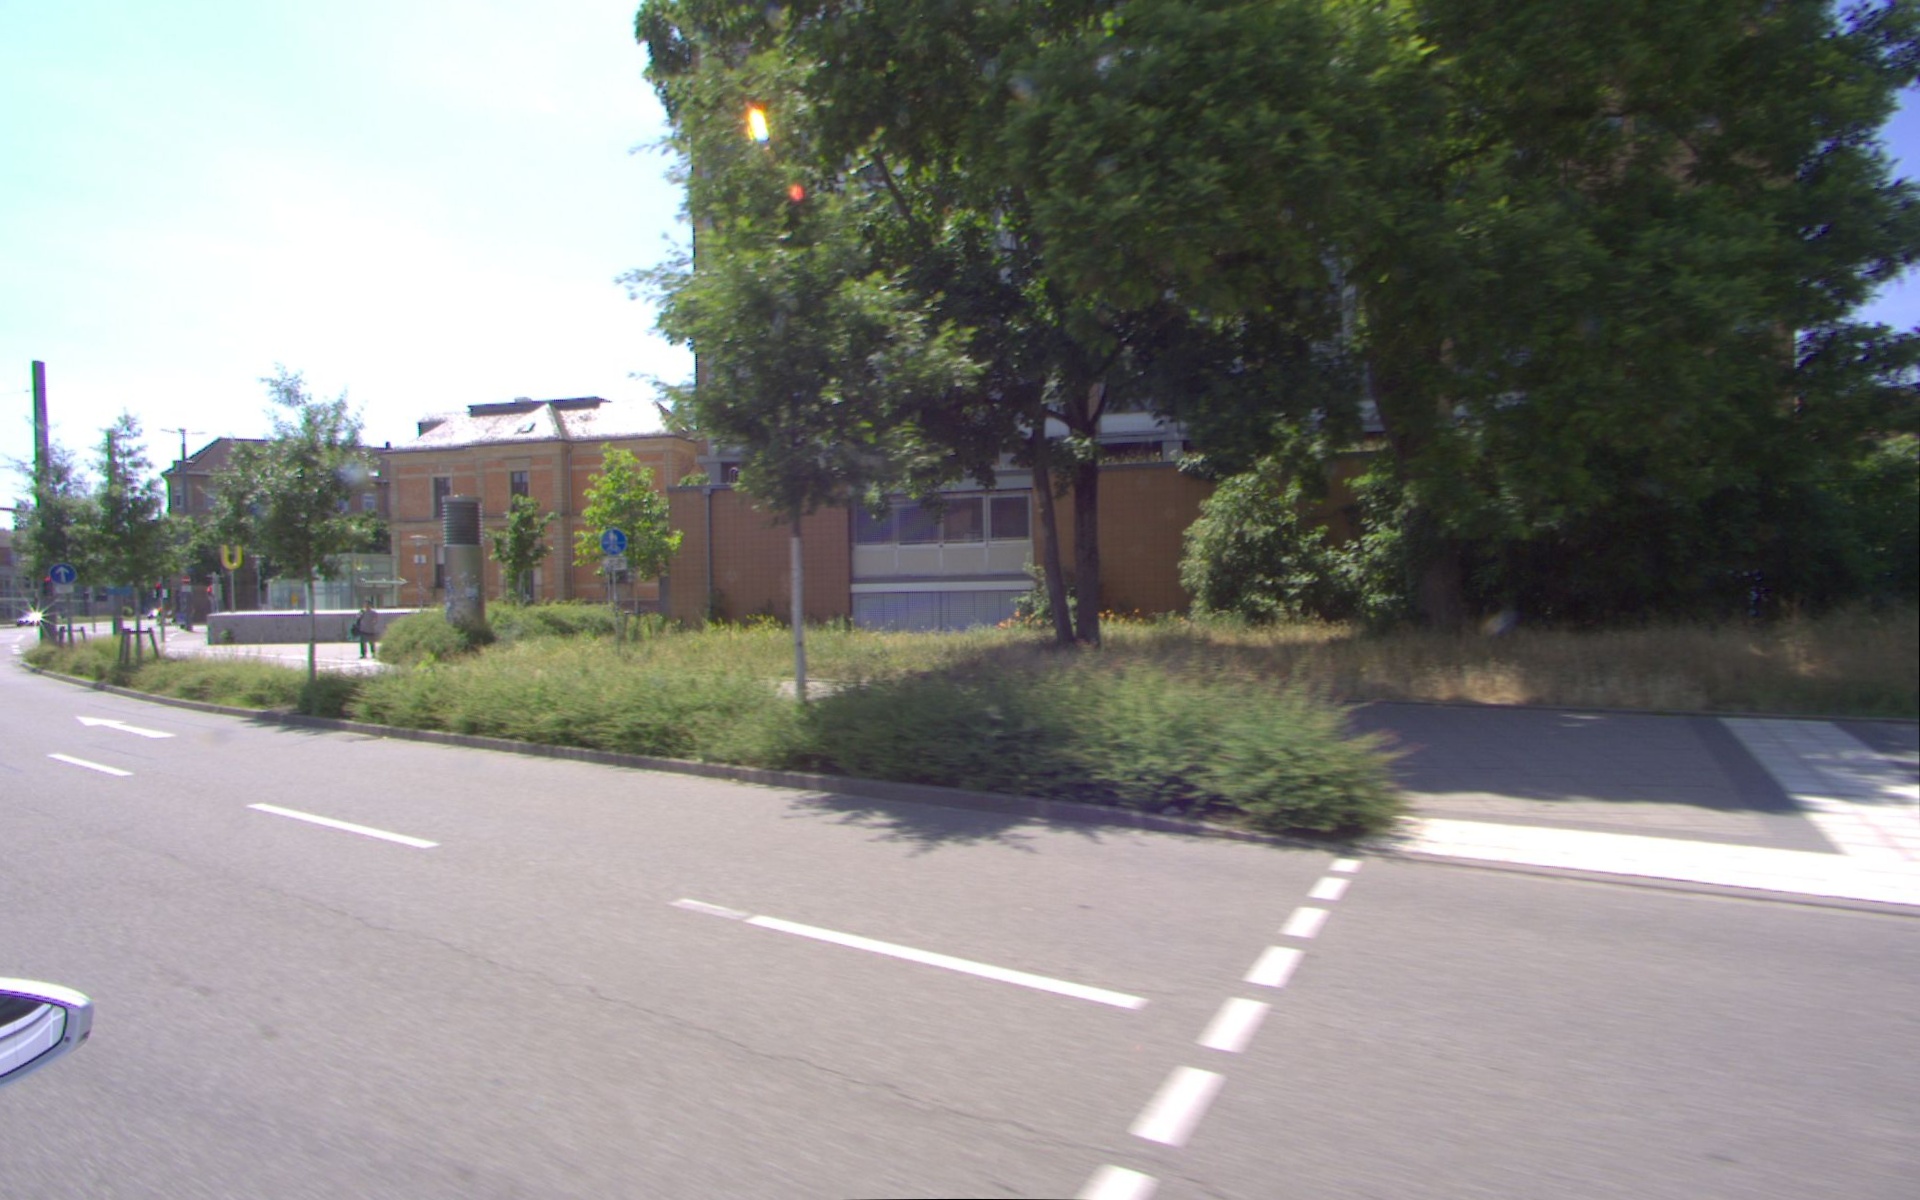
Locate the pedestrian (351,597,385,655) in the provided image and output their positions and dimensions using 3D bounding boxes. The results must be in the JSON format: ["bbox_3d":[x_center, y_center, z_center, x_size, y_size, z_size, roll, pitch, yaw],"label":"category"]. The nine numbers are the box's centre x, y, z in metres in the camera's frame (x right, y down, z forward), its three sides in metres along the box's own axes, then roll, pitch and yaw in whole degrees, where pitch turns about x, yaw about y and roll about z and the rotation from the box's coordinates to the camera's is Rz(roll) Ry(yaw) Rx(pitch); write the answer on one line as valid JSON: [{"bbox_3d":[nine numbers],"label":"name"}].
[{"bbox_3d":[-17.956,0.773,30.358,0.802,1.728,0.727,1,1,45],"label":"pedestrian"}]

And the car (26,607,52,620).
[{"bbox_3d":[-107.147,1.556,116.527,1.553,1.446,3.592,1,1,-30],"label":"car"}]

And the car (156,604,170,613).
[{"bbox_3d":[-135.650,1.456,170.430,3.512,1.478,1.522,2,1,44],"label":"car"}]

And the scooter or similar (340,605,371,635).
[{"bbox_3d":[-24.973,0.831,41.365,1.267,1.183,0.397,2,2,21],"label":"scooter or similar"}]

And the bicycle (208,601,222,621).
[{"bbox_3d":[-73.019,1.095,98.170,3.146,1.812,0.608,2,2,44],"label":"bicycle"}]
